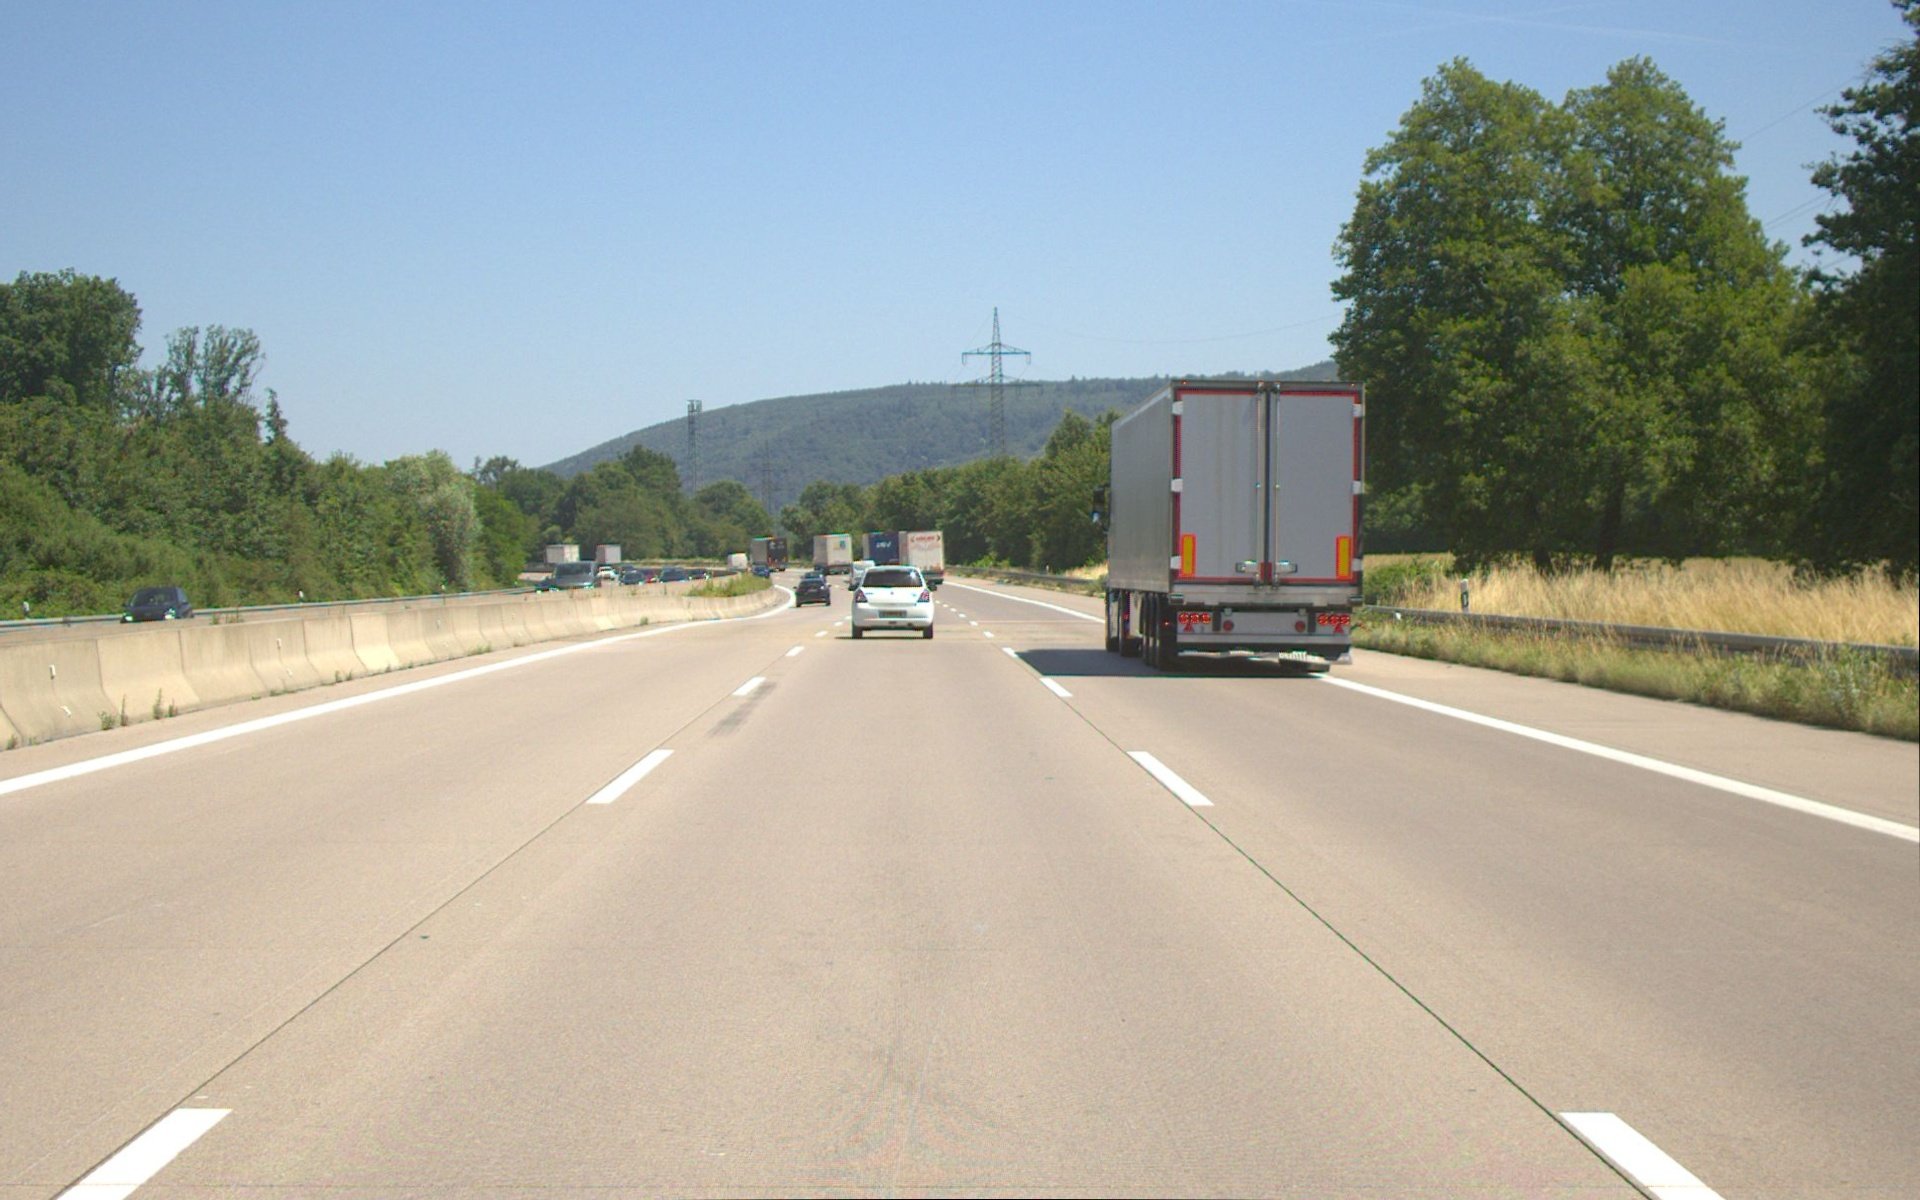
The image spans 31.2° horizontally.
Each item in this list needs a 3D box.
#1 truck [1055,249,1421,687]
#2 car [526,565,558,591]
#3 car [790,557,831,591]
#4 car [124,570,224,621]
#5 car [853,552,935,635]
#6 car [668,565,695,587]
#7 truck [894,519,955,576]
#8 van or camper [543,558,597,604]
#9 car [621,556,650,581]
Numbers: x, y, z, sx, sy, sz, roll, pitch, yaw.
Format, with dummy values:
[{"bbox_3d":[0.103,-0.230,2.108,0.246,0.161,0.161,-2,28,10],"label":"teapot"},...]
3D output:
[{"bbox_3d":[3.921,-1.922,54.464,3.577,5.767,18.249,0,1,-2],"label":"truck"},{"bbox_3d":[-26.935,-1.400,221.525,1.703,1.652,4.091,-1,0,-2],"label":"car"},{"bbox_3d":[-7.753,-1.354,177.920,2.022,1.695,4.001,1,1,-4],"label":"car"},{"bbox_3d":[-22.289,-0.141,97.606,1.928,1.371,4.000,-1,1,0],"label":"car"},{"bbox_3d":[-1.376,-0.153,71.504,1.641,1.656,3.360,1,1,-1],"label":"car"},{"bbox_3d":[-21.057,-1.816,259.779,1.799,1.664,4.218,-2,0,-2],"label":"car"},{"bbox_3d":[-2.688,-3.874,254.435,3.820,3.876,14.155,-4,1,-3],"label":"truck"},{"bbox_3d":[-16.060,-0.797,141.643,1.847,1.875,4.417,-1,1,-2],"label":"van or camper"},{"bbox_3d":[-22.030,-2.135,233.431,1.703,1.652,4.407,0,1,-2],"label":"car"}]
